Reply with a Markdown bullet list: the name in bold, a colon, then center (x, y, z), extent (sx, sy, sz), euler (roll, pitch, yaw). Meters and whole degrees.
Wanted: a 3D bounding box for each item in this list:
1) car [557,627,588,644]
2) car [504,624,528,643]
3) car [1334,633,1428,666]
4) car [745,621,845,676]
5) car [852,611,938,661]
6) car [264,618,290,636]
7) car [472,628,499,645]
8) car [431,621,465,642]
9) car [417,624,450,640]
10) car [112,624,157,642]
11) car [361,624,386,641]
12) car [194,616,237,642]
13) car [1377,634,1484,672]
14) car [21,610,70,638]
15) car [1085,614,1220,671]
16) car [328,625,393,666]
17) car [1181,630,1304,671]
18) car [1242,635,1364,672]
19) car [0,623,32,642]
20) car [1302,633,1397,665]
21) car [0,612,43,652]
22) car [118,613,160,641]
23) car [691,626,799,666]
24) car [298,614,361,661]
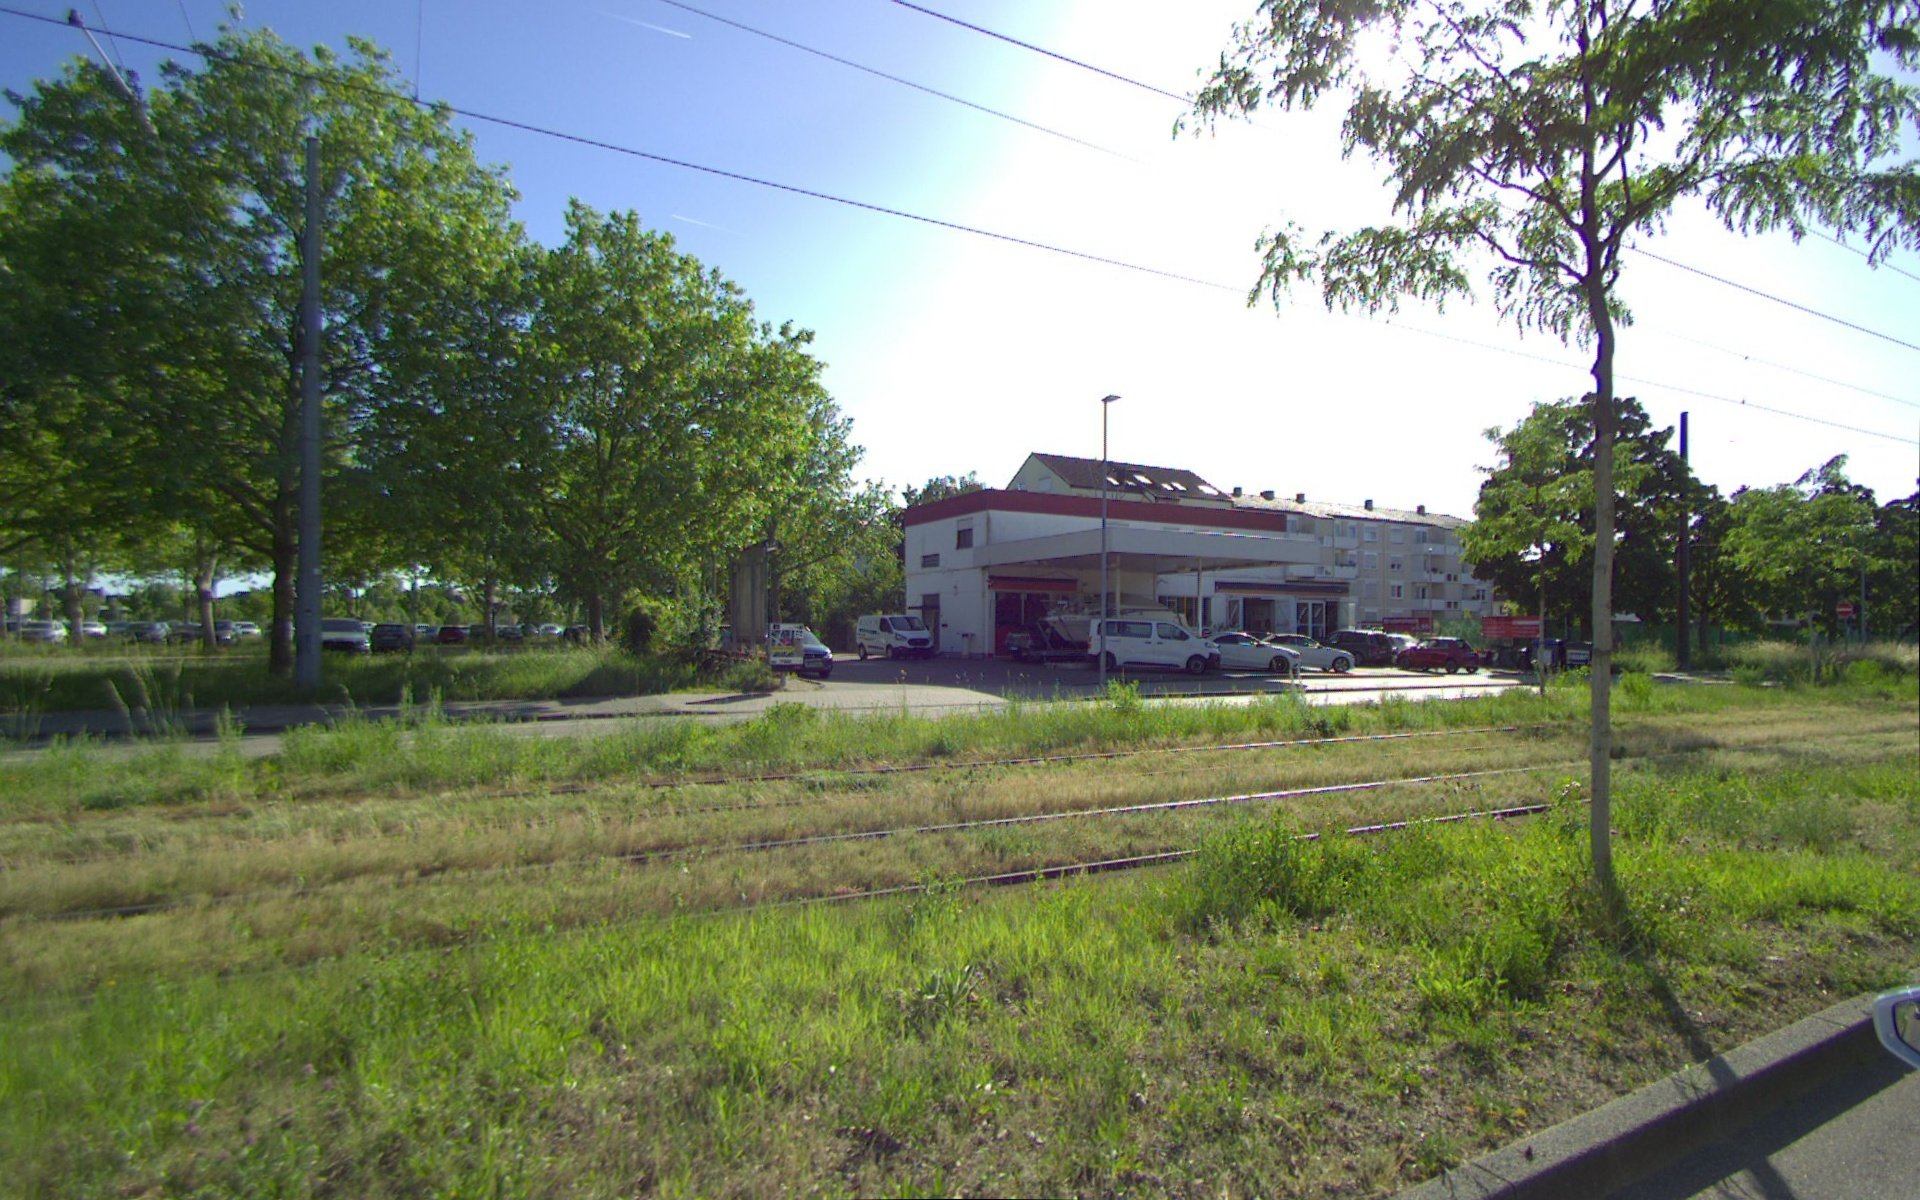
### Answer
- **car**: center (-35.551, 3.249, 92.304), extent (1.955, 1.569, 4.421), euler (1, -2, -12)
- **car**: center (-39.814, 3.013, 90.109), extent (1.804, 1.627, 3.979), euler (1, -2, -22)
- **car**: center (20.863, 2.421, 49.889), extent (1.771, 1.589, 4.051), euler (1, -2, -30)
- **car**: center (-5.446, 1.555, 32.725), extent (1.712, 1.545, 3.942), euler (5, -2, -33)
- **car**: center (-2.978, 1.610, 44.861), extent (1.997, 2.119, 4.700), euler (1, -2, -30)
- **car**: center (-55.583, 2.199, 81.811), extent (1.648, 1.451, 3.942), euler (2, -2, -33)
- **car**: center (-42.051, 3.190, 88.927), extent (1.648, 1.451, 3.942), euler (2, -2, -33)
- **car**: center (-37.427, 2.299, 73.416), extent (1.828, 1.451, 3.942), euler (2, -2, -33)
- **car**: center (-55.622, 3.383, 106.160), extent (1.955, 1.569, 4.421), euler (1, -2, -12)
- **car**: center (-73.600, 2.920, 89.642), extent (1.963, 1.569, 4.404), euler (1, -2, -25)
- **car**: center (-49.817, 2.756, 85.321), extent (1.648, 1.451, 3.942), euler (2, -2, -33)
- **car**: center (-42.984, 1.675, 58.062), extent (1.728, 1.468, 3.942), euler (2, -2, -33)
- **car**: center (20.942, 2.327, 44.831), extent (1.771, 1.589, 4.051), euler (1, -2, -30)
- **car**: center (-56.936, 1.479, 62.604), extent (1.813, 1.690, 3.959), euler (2, -2, -36)
- **car**: center (6.960, 1.533, 36.580), extent (4.689, 2.000, 1.862), euler (0, -2, 9)
- **car**: center (-18.965, 1.404, 31.724), extent (1.648, 1.182, 3.943), euler (2, -2, -32)
- **car**: center (10.836, 1.934, 38.784), extent (4.380, 1.548, 1.793), euler (0, -2, 9)
- **car**: center (13.989, 2.168, 41.152), extent (4.382, 1.490, 1.793), euler (0, -2, 1)
- **car**: center (-80.950, 2.719, 85.217), extent (1.950, 1.569, 4.404), euler (1, -2, -25)
- **car**: center (18.797, 2.343, 48.632), extent (1.771, 1.463, 4.051), euler (1, -2, -30)
- **car**: center (-36.104, 1.178, 37.812), extent (1.648, 1.451, 3.942), euler (2, -2, -33)
- **car**: center (-52.970, 1.734, 64.871), extent (1.813, 1.690, 3.959), euler (2, -2, -36)
- **car**: center (-8.785, 1.867, 41.063), extent (4.034, 1.565, 1.572), euler (1, -1, -26)
- **car**: center (-20.810, 1.248, 33.133), extent (1.648, 1.451, 3.942), euler (1, -2, -33)
